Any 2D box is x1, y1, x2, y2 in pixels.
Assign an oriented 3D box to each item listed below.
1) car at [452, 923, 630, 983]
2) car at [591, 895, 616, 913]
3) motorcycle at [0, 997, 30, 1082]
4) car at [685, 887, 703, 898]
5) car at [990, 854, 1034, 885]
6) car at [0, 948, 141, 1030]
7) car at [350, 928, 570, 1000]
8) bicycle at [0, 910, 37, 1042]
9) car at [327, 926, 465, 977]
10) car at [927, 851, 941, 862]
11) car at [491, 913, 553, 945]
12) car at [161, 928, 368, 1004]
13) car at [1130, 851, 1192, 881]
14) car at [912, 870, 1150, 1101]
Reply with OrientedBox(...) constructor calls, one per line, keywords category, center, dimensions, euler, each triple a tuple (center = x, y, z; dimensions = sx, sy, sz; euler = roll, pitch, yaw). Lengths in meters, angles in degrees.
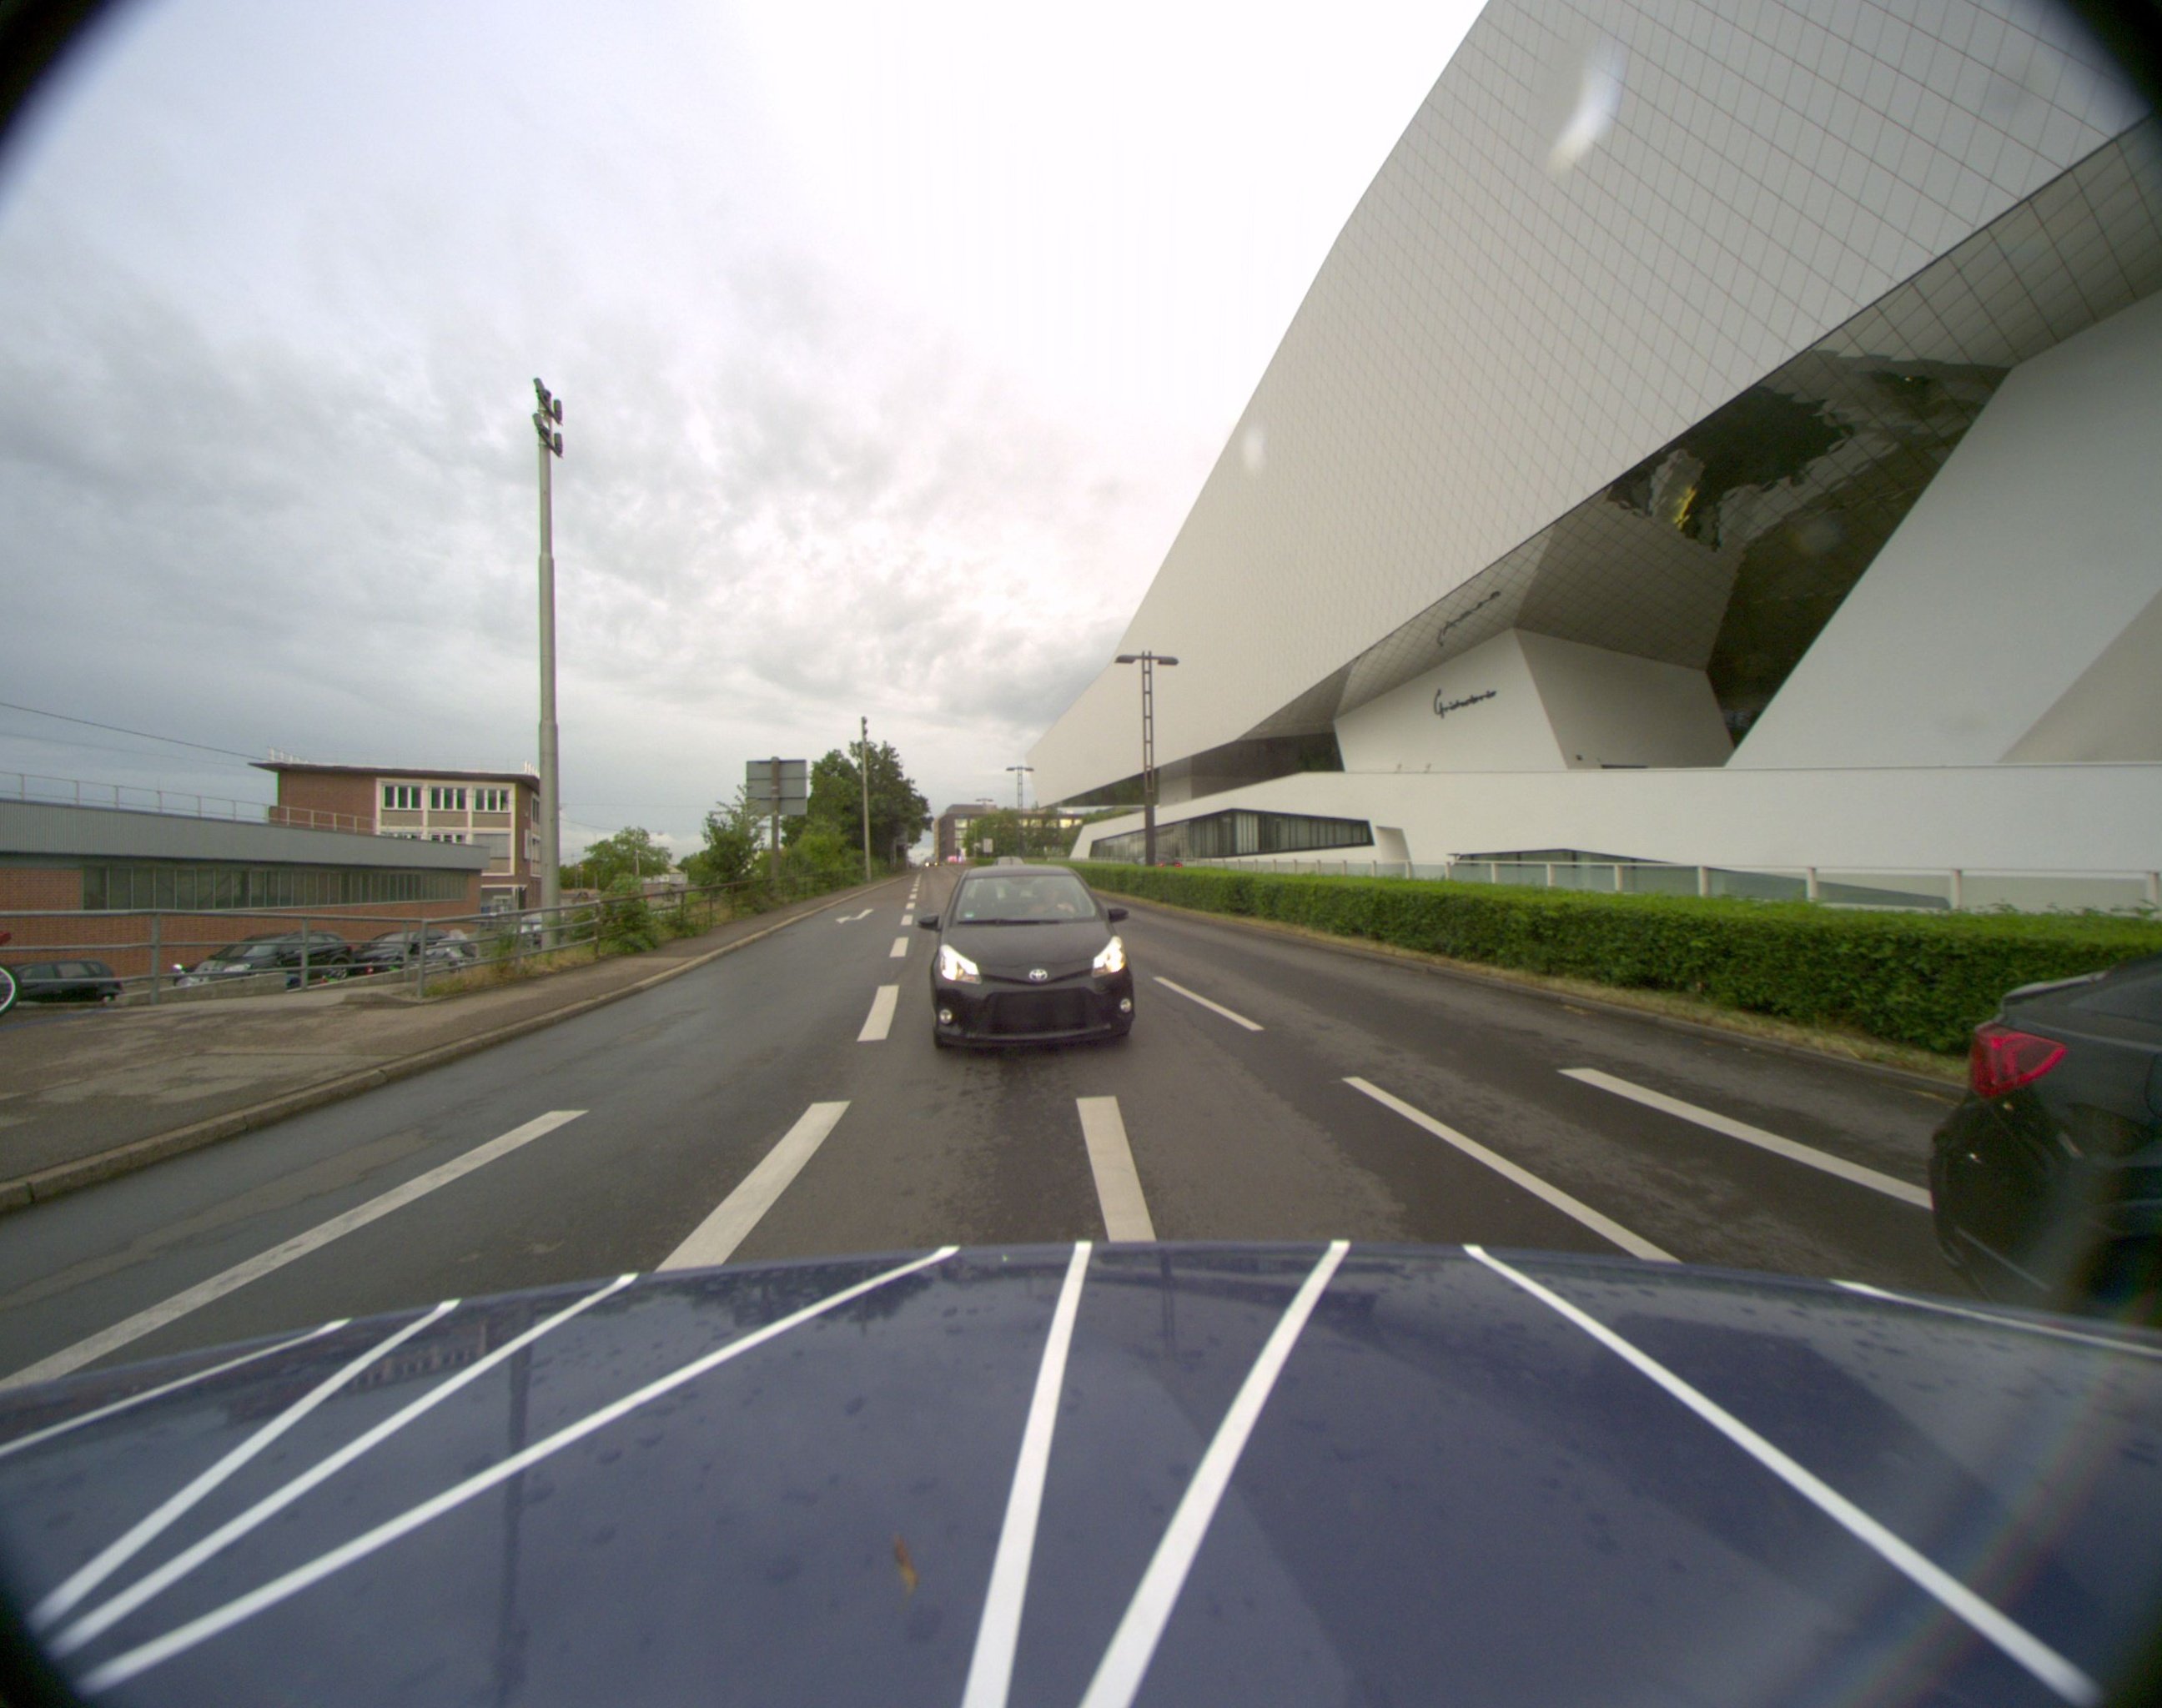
OrientedBox(category="car", center=(-15.558, 2.843, 22.019), dimensions=(3.995, 1.417, 1.722), euler=(-2, -1, 5))
OrientedBox(category="car", center=(-42.114, 4.400, 67.043), dimensions=(1.723, 1.417, 3.991), euler=(-1, -1, -30))
OrientedBox(category="motorcycle", center=(-13.373, 2.217, 8.648), dimensions=(1.618, 0.916, 0.420), euler=(-3, 1, -24))
OrientedBox(category="car", center=(-55.037, 5.419, 108.042), dimensions=(1.724, 1.417, 3.991), euler=(-1, -1, -34))
OrientedBox(category="car", center=(-3.782, 0.798, 40.945), dimensions=(1.819, 1.430, 4.296), euler=(-2, 1, -12))
OrientedBox(category="car", center=(-23.238, 2.955, 16.233), dimensions=(1.721, 1.417, 3.997), euler=(-2, -1, -10))
OrientedBox(category="car", center=(-14.867, 2.616, 18.325), dimensions=(3.995, 1.417, 1.722), euler=(-2, -1, 5))
OrientedBox(category="bicycle", center=(-10.389, 1.095, 6.568), dimensions=(1.547, 1.148, 0.450), euler=(0, 2, -27))
OrientedBox(category="car", center=(-25.690, 3.608, 28.726), dimensions=(1.720, 1.396, 4.273), euler=(-2, -1, -7))
OrientedBox(category="car", center=(-21.604, 0.363, 111.449), dimensions=(1.750, 1.466, 4.063), euler=(-2, 1, -14))
OrientedBox(category="car", center=(-30.359, 4.040, 41.372), dimensions=(1.735, 1.380, 3.993), euler=(-2, -1, -22))
OrientedBox(category="car", center=(-24.446, 3.272, 23.044), dimensions=(1.784, 1.657, 4.503), euler=(-2, -1, -7))
OrientedBox(category="car", center=(3.888, 0.556, 37.606), dimensions=(1.726, 1.330, 3.995), euler=(-2, 1, -14))
OrientedBox(category="car", center=(-0.624, 0.992, 7.549), dimensions=(1.695, 1.498, 4.008), euler=(-2, 1, -8))
